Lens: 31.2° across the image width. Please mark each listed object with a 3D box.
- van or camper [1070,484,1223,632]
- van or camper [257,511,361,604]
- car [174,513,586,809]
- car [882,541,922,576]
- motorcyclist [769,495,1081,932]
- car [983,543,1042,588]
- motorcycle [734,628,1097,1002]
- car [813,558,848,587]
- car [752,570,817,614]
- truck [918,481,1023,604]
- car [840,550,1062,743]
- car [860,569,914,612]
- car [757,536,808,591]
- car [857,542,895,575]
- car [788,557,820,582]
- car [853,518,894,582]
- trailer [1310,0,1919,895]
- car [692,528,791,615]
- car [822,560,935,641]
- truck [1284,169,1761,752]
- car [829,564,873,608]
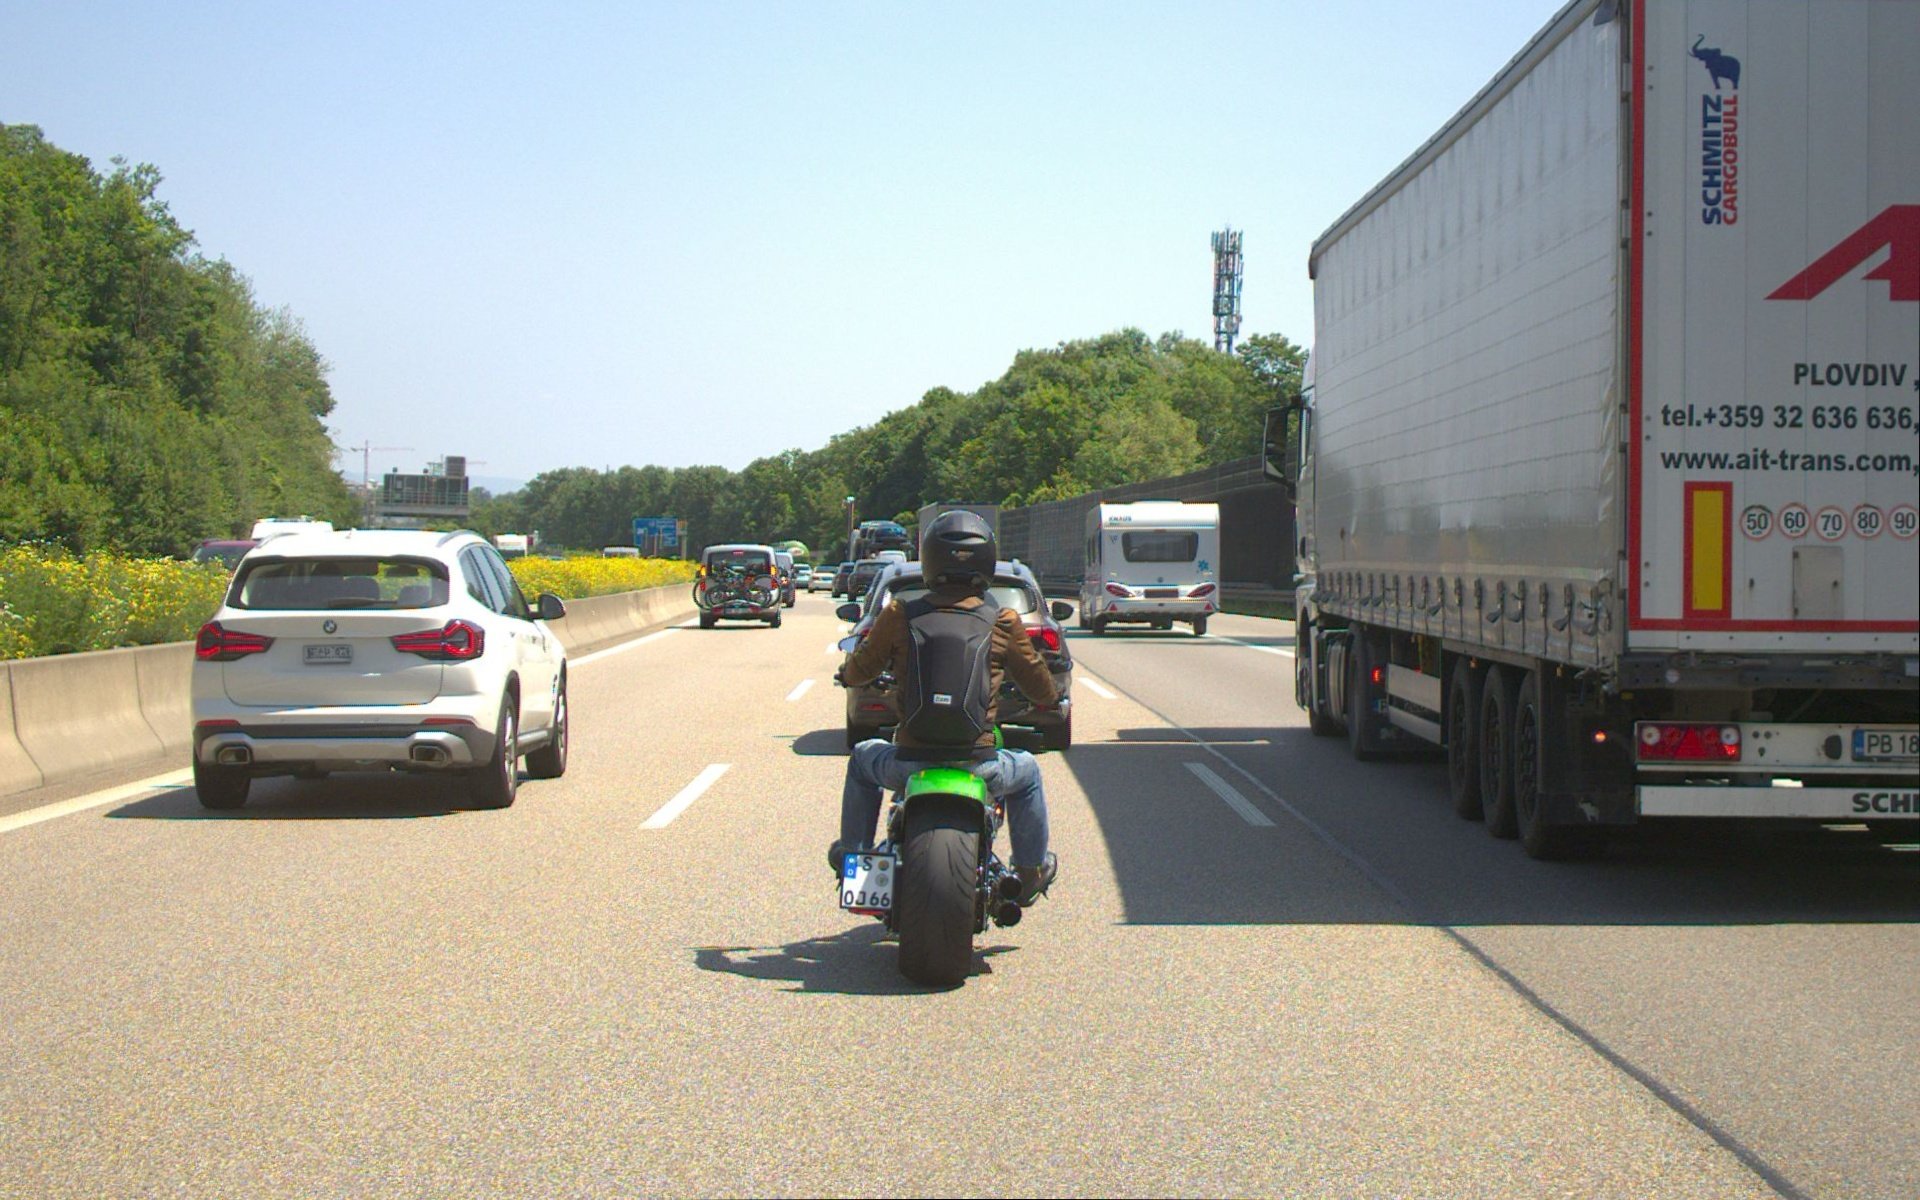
[{"bbox_3d":[3.641,-0.778,68.596,2.685,2.803,6.803,0,0,0],"label":"van or camper"},{"bbox_3d":[-19.551,-1.286,103.514,2.085,2.692,6.153,0,1,-1],"label":"van or camper"},{"bbox_3d":[-3.577,0.322,22.094,1.864,1.688,4.956,0,1,-1],"label":"car"},{"bbox_3d":[-3.304,-2.340,194.398,2.107,1.870,4.000,0,0,-3],"label":"car"},{"bbox_3d":[-0.087,0.386,12.561,0.900,1.470,1.871,0,0,7],"label":"motorcyclist"},{"bbox_3d":[1.909,-1.234,125.221,1.993,1.569,4.000,0,0,-1],"label":"car"},{"bbox_3d":[-0.092,0.711,12.629,0.965,1.144,2.811,1,1,7],"label":"motorcycle"},{"bbox_3d":[-7.002,-1.494,185.586,1.832,1.491,3.744,0,0,-4],"label":"car"},{"bbox_3d":[-5.665,-0.250,111.263,1.993,1.382,4.000,0,0,-2],"label":"car"},{"bbox_3d":[0.388,-2.345,144.342,3.802,4.943,8.951,0,0,-4],"label":"truck"},{"bbox_3d":[-0.042,0.358,27.764,1.662,1.448,3.869,0,0,1],"label":"car"},{"bbox_3d":[-2.817,-0.348,131.939,1.993,1.634,4.000,0,0,-3],"label":"car"},{"bbox_3d":[-6.721,-1.380,130.516,1.791,2.007,3.642,0,0,-1],"label":"car"},{"bbox_3d":[-4.882,-2.413,200.001,2.107,1.870,4.000,0,0,-3],"label":"car"},{"bbox_3d":[-9.970,-1.942,219.384,1.832,1.491,3.744,0,0,-5],"label":"car"},{"bbox_3d":[-5.414,-3.117,213.412,2.133,3.848,8.143,1,1,-4],"label":"car"},{"bbox_3d":[4.168,-0.904,20.792,2.886,4.025,13.795,0,1,1],"label":"trailer"},{"bbox_3d":[-4.815,-0.600,76.292,1.899,1.867,4.412,0,0,0],"label":"car"},{"bbox_3d":[-1.454,0.024,62.890,1.993,1.425,3.847,0,0,0],"label":"car"},{"bbox_3d":[4.277,-1.028,27.420,2.886,4.132,5.986,0,1,1],"label":"truck"},{"bbox_3d":[-5.155,-0.649,162.198,1.911,2.007,3.691,0,0,-4],"label":"car"}]
